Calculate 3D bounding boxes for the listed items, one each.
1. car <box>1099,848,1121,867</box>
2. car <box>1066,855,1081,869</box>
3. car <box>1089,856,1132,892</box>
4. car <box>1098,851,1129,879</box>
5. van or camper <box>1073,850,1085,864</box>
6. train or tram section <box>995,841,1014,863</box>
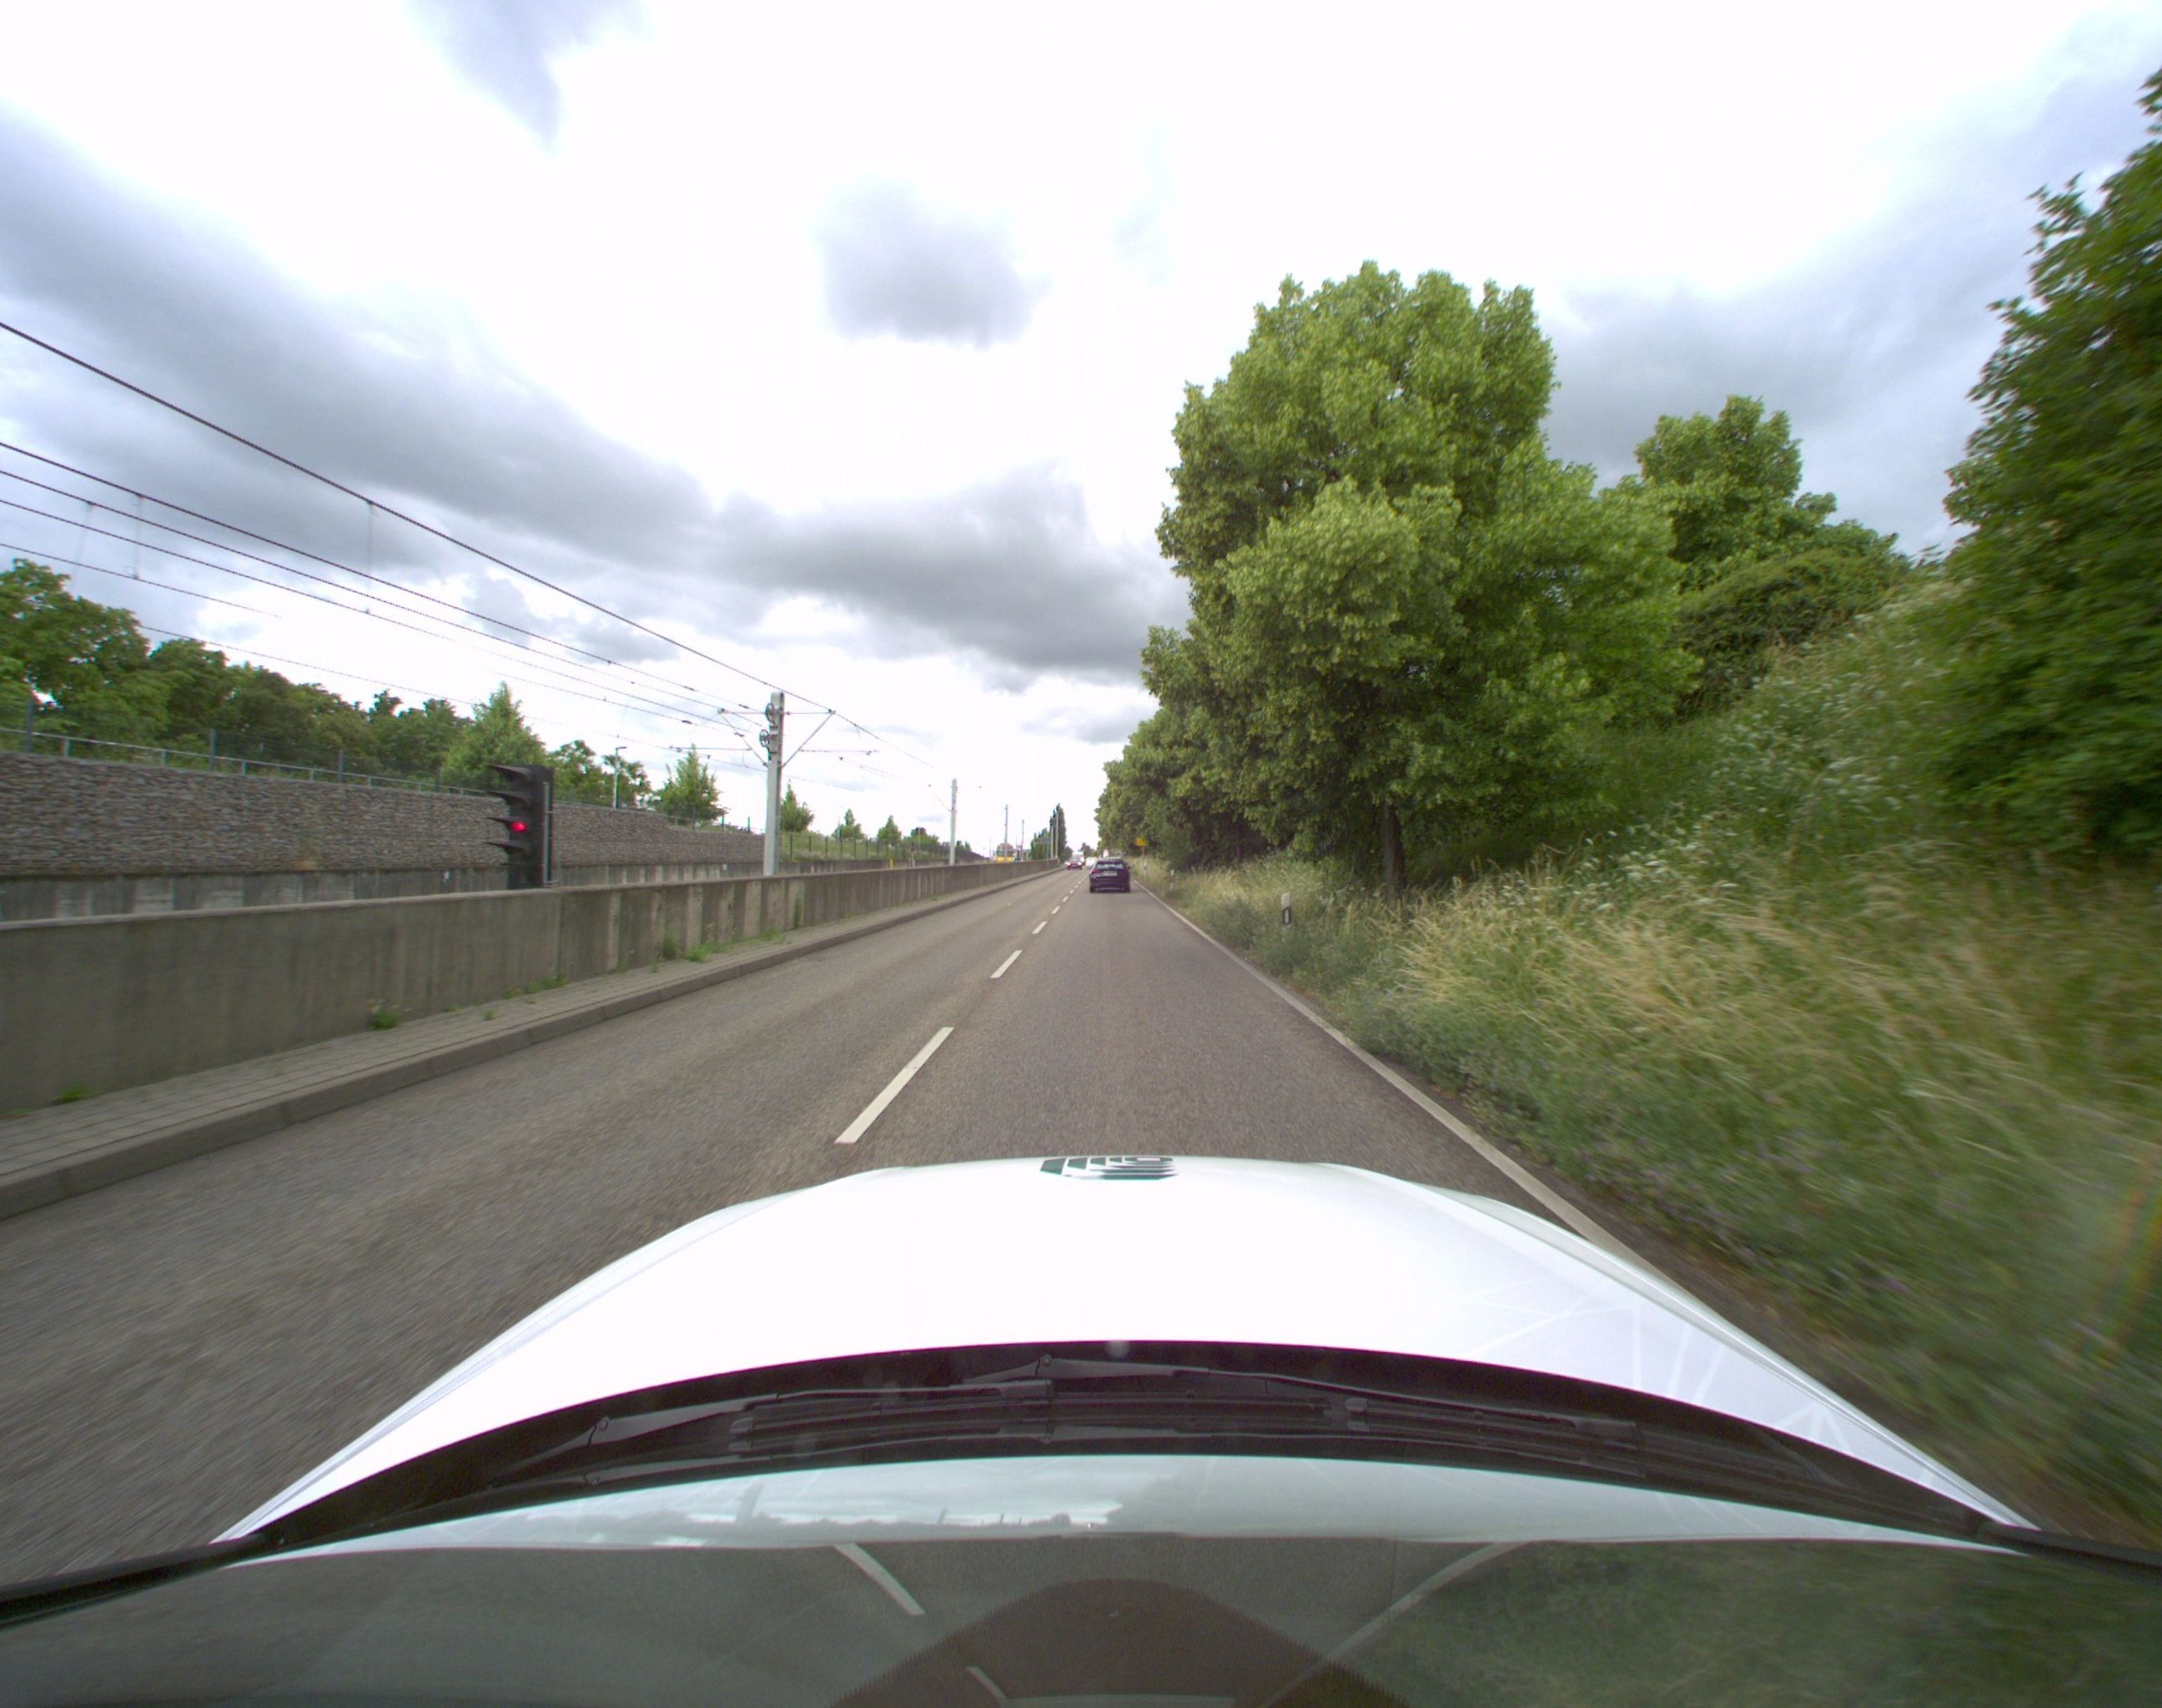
[{"bbox_3d":[2.656,0.360,75.338,1.986,1.740,4.001,-1,-1,2],"label":"car"},{"bbox_3d":[-0.890,0.947,95.783,1.657,1.545,3.953,-1,0,1],"label":"car"},{"bbox_3d":[1.296,0.843,35.843,1.775,1.468,4.001,0,0,2],"label":"car"},{"bbox_3d":[2.120,0.689,53.502,1.986,1.753,4.001,0,0,1],"label":"car"},{"bbox_3d":[-0.362,0.512,148.333,2.075,2.396,6.138,-1,0,1],"label":"van or camper"},{"bbox_3d":[-12.675,-0.202,133.821,2.809,3.117,18.869,-1,-1,-7],"label":"train or tram section"}]
